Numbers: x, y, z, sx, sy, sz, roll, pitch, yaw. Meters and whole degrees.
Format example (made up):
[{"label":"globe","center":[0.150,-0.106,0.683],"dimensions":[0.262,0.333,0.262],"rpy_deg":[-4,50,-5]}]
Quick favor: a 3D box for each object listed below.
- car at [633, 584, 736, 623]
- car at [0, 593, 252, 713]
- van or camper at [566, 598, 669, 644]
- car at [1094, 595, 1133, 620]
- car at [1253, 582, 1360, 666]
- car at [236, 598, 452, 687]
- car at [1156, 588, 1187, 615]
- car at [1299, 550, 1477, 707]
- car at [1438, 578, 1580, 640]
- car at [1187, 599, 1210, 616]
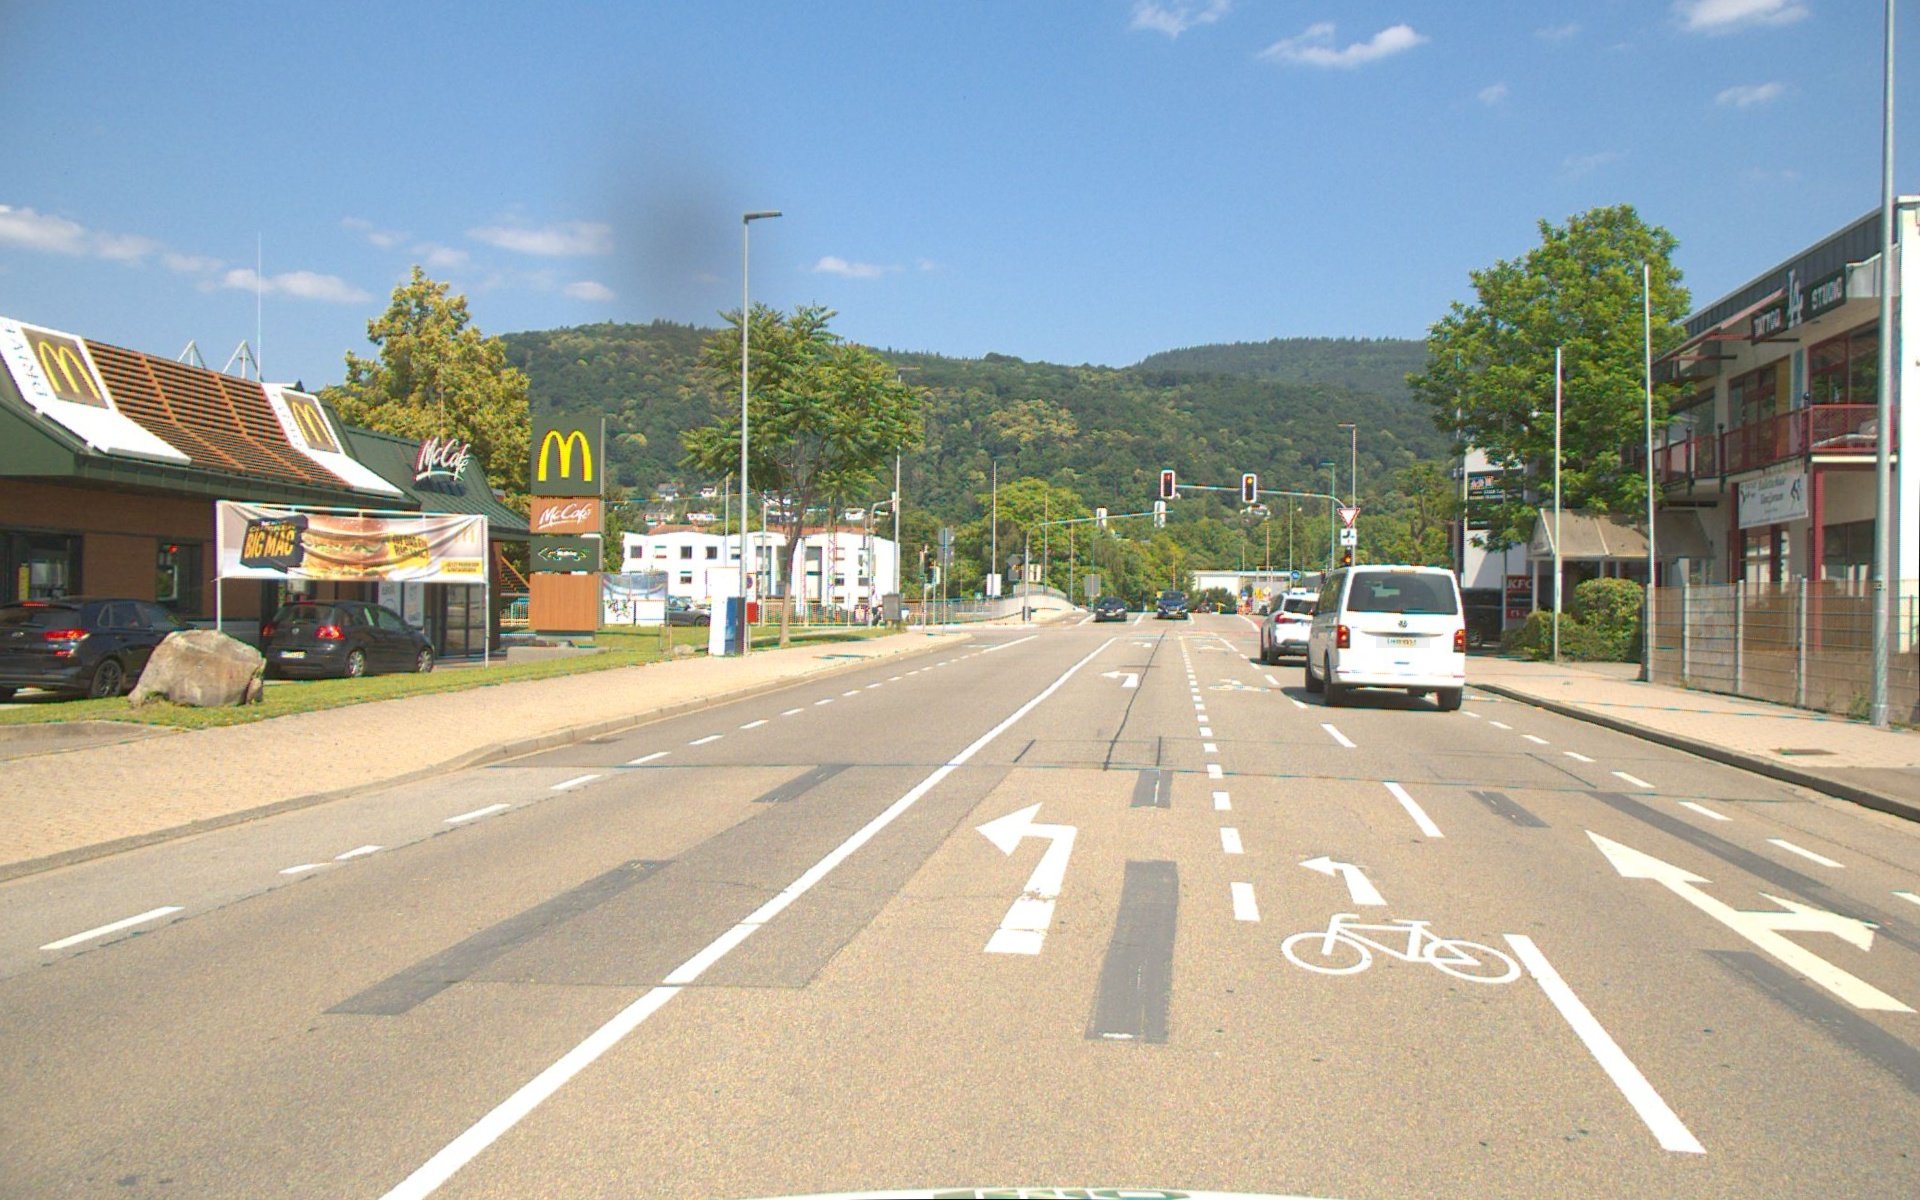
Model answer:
[{"label":"car","center":[-11.951,0.138,71.683],"dimensions":[4.245,1.620,1.992],"rpy_deg":[0,0,-16]},{"label":"car","center":[-12.449,0.702,24.379],"dimensions":[1.789,1.502,4.323],"rpy_deg":[3,1,5]},{"label":"van or camper","center":[-13.646,0.821,66.135],"dimensions":[3.916,1.601,1.995],"rpy_deg":[3,1,-11]},{"label":"car","center":[8.852,0.423,95.196],"dimensions":[1.951,1.394,4.330],"rpy_deg":[0,0,9]},{"label":"car","center":[7.869,0.507,37.913],"dimensions":[1.894,1.716,4.547],"rpy_deg":[2,0,6]},{"label":"car","center":[-11.491,0.751,31.180],"dimensions":[1.951,1.441,4.133],"rpy_deg":[3,1,9]},{"label":"car","center":[12.768,0.071,99.865],"dimensions":[1.810,1.616,4.003],"rpy_deg":[0,0,8]},{"label":"car","center":[6.247,0.357,24.635],"dimensions":[1.893,2.095,4.548],"rpy_deg":[1,1,6]},{"label":"car","center":[16.410,0.249,49.625],"dimensions":[3.902,1.806,2.002],"rpy_deg":[0,0,14]},{"label":"car","center":[24.252,0.757,168.087],"dimensions":[1.952,1.556,4.046],"rpy_deg":[3,1,4]}]
